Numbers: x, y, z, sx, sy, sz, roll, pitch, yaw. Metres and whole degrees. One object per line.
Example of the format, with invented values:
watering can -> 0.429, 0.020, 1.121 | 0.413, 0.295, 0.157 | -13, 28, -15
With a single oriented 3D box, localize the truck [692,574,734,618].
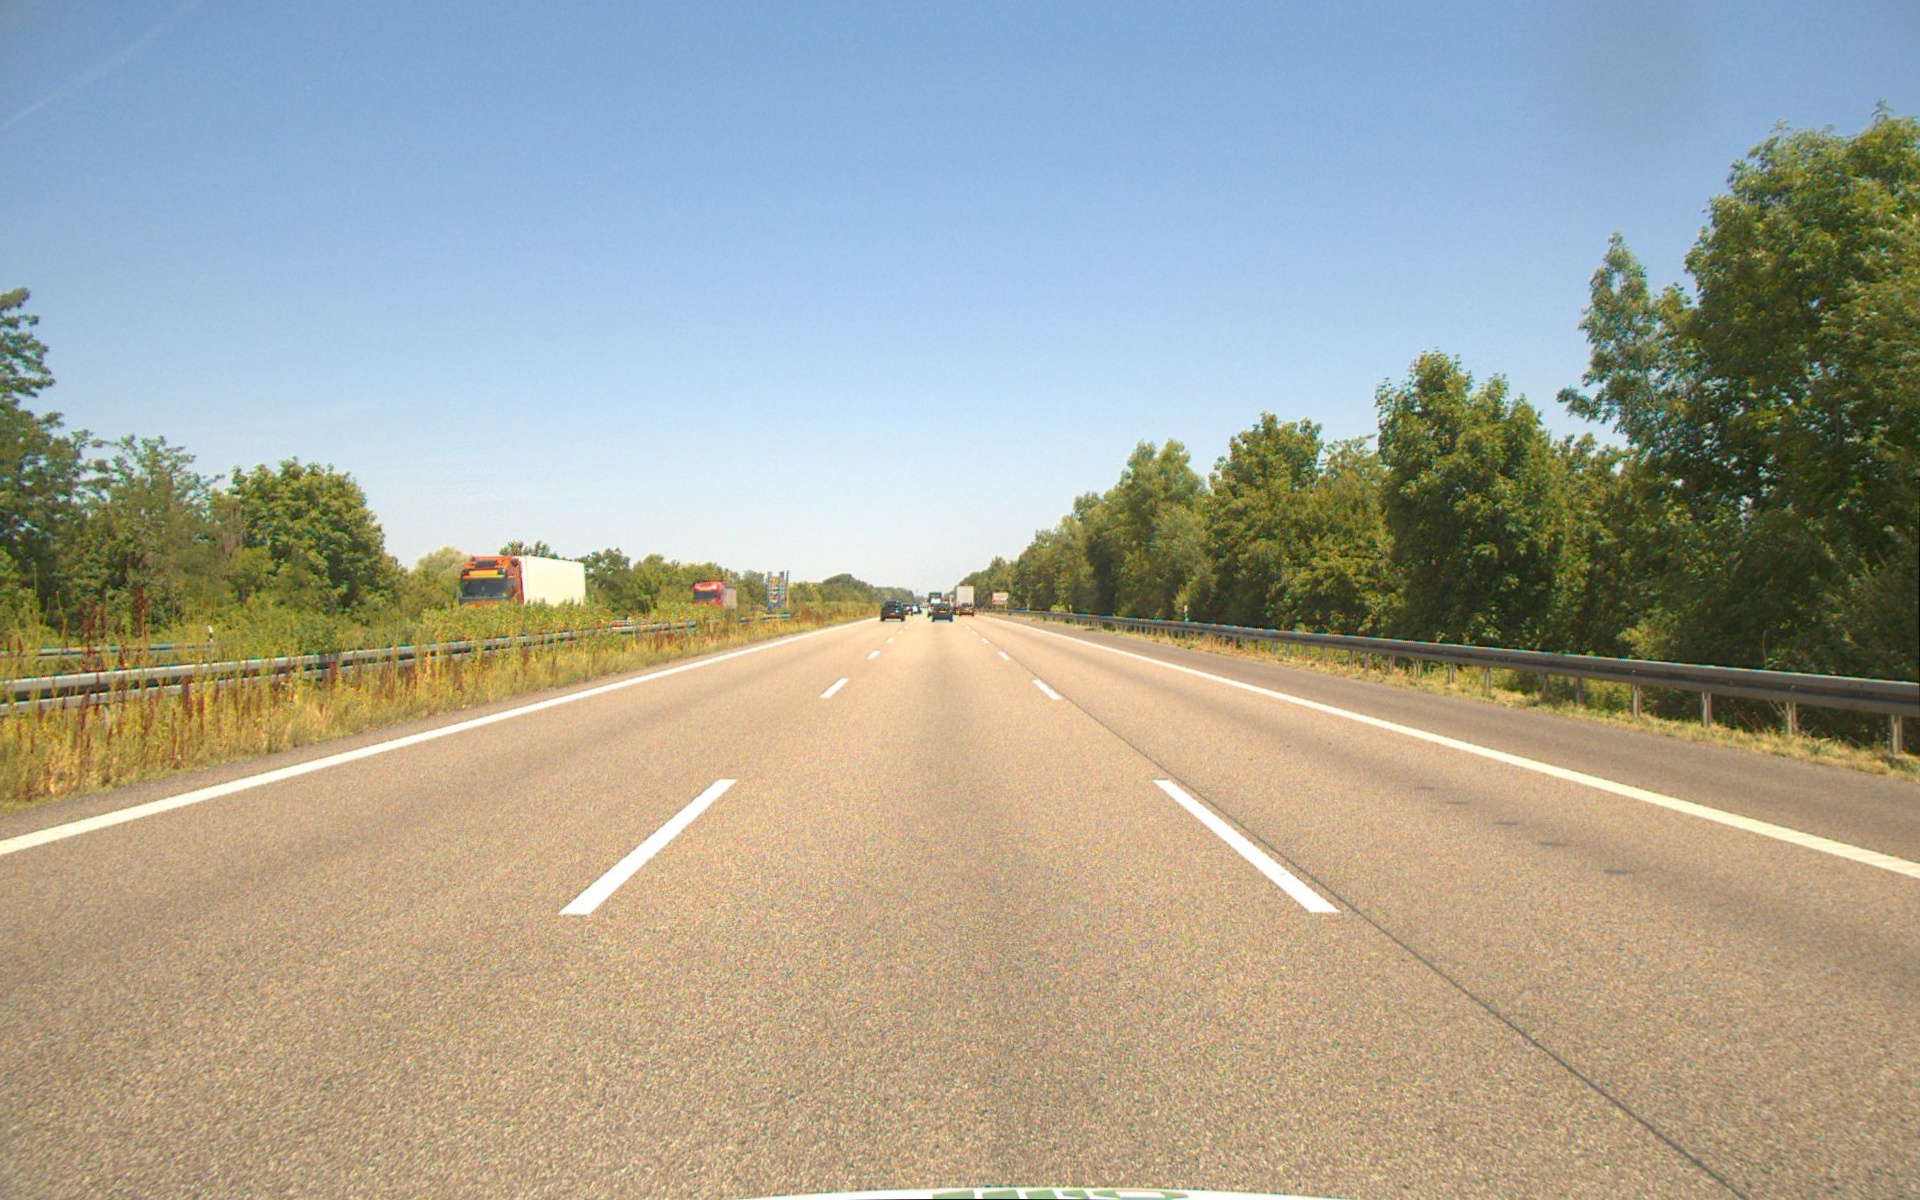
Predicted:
truck -> -22.732, -0.338, 152.427 | 3.016, 3.937, 5.590 | -1, 0, 0

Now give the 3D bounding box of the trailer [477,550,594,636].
trailer -> -21.907, -0.349, 86.274 | 2.677, 4.004, 13.063 | -3, 0, -1

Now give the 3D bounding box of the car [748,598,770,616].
car -> -18.959, 0.645, 156.135 | 1.620, 1.673, 4.333 | -1, 0, 0

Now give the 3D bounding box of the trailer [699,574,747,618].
trailer -> -22.742, -0.380, 159.028 | 3.016, 3.937, 10.906 | -1, 0, 0

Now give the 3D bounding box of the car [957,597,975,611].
car -> 0.722, 0.516, 200.812 | 2.085, 1.611, 4.304 | -1, 0, 0

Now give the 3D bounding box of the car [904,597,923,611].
car -> -5.614, 0.505, 200.097 | 2.085, 1.674, 4.304 | -1, 0, 0

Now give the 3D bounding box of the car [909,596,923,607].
car -> -6.808, 0.281, 255.778 | 2.085, 1.674, 4.304 | -1, 0, 0

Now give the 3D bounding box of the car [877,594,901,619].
car -> -5.684, 0.510, 133.001 | 1.842, 1.823, 3.999 | 0, 1, -2

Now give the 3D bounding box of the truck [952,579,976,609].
truck -> 0.506, -0.889, 232.295 | 3.316, 4.040, 9.536 | -1, 0, 0

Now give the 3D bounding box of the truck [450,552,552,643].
truck -> -21.844, -0.103, 79.048 | 2.677, 4.004, 7.415 | -3, 0, -1

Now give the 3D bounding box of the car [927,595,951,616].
car -> -1.630, 0.437, 131.004 | 1.864, 1.611, 4.304 | -1, 0, 0
